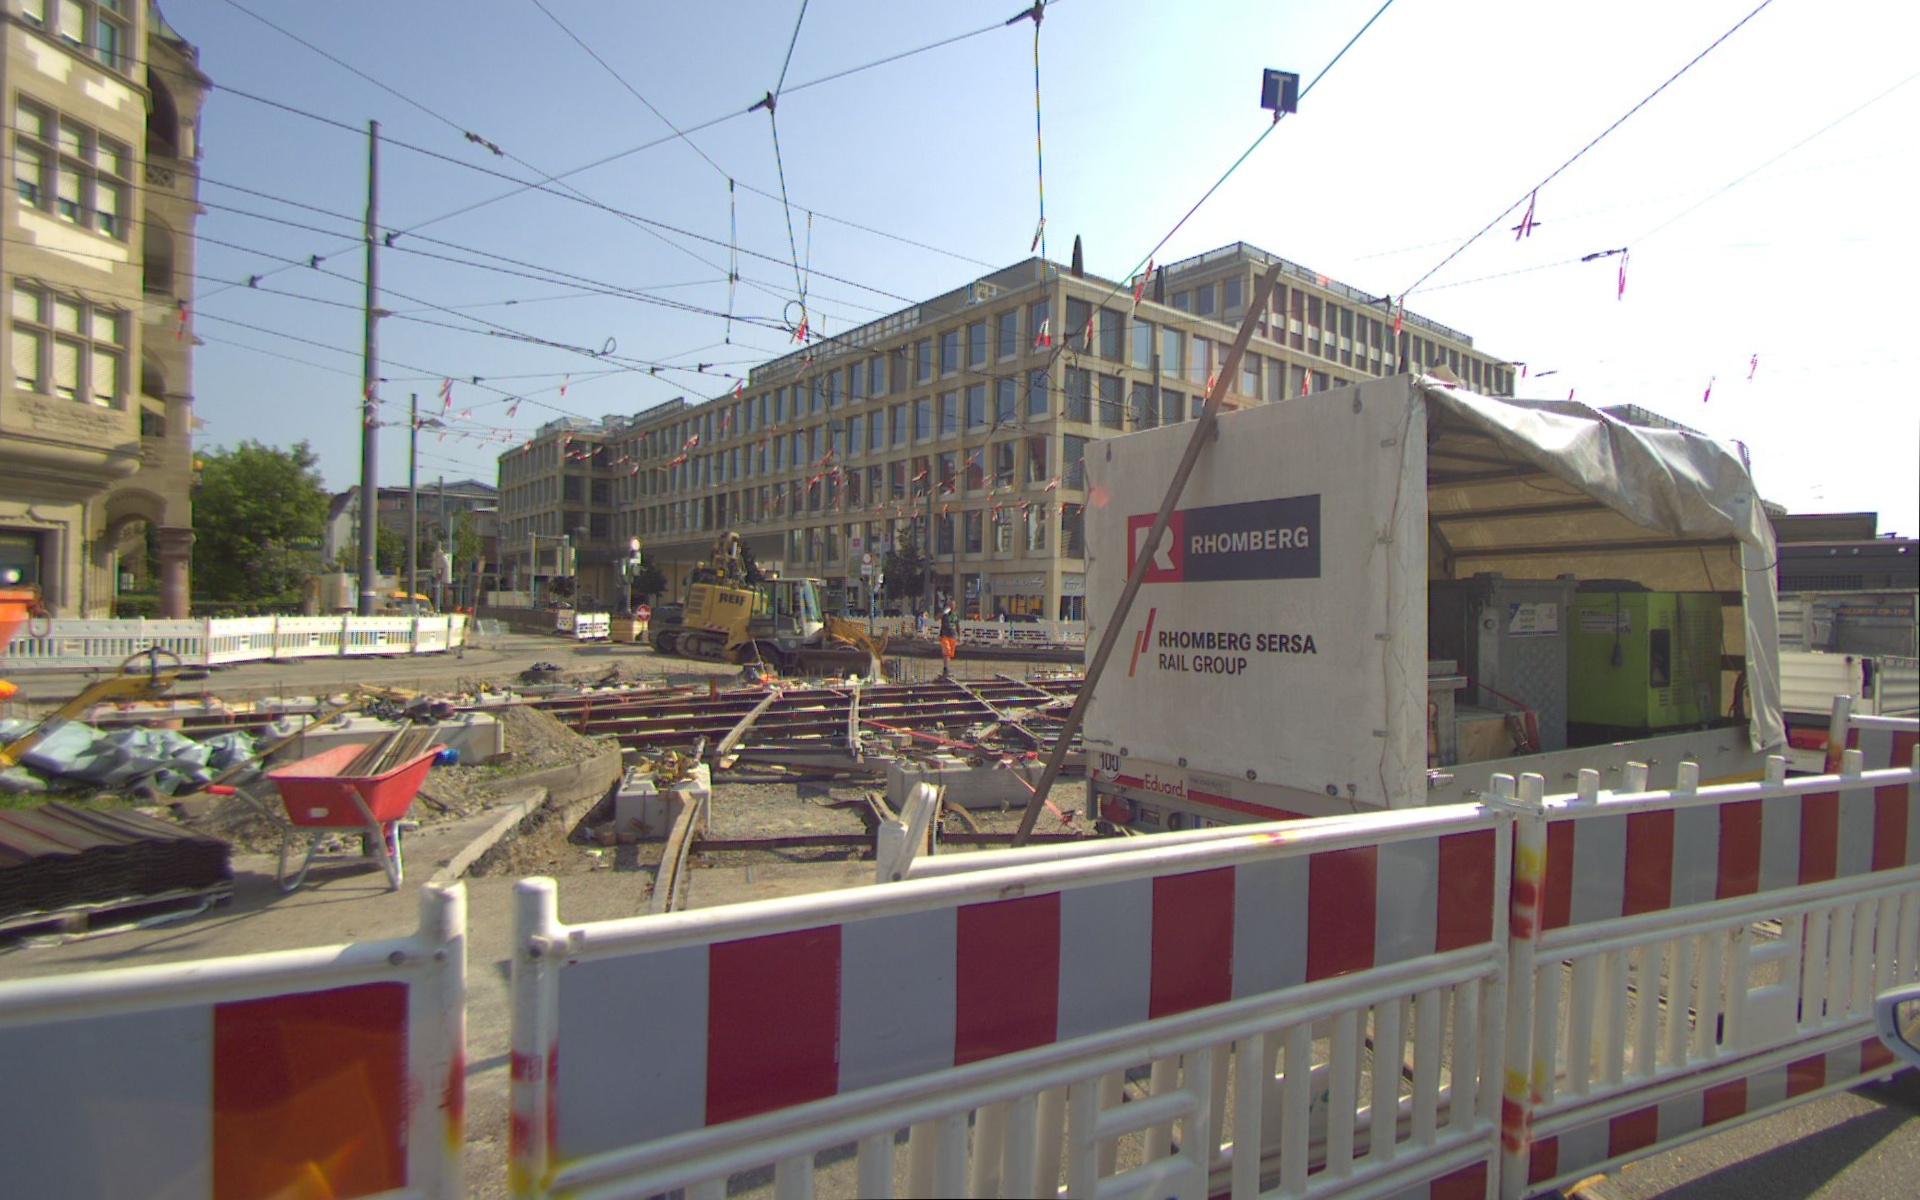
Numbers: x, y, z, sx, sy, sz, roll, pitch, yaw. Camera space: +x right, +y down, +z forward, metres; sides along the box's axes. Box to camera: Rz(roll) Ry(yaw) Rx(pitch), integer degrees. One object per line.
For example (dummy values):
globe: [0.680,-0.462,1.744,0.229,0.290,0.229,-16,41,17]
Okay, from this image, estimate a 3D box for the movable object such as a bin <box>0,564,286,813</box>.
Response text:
movable object such as a bin: [-6.671,0.563,6.926,3.256,1.579,1.588,2,-1,-38]

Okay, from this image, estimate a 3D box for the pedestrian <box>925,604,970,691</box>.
pedestrian: [-0.284,1.066,22.942,0.714,1.938,0.782,1,-1,-30]

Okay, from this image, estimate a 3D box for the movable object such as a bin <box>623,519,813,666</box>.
movable object such as a bin: [-8.582,-0.109,34.753,4.903,4.404,7.335,2,-2,-25]

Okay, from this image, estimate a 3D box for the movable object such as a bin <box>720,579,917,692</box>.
movable object such as a bin: [-3.824,0.932,27.561,4.719,2.872,2.451,1,-1,14]

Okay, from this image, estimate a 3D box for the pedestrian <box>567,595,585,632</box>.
pedestrian: [-21.234,0.752,55.525,0.669,2.040,0.634,1,0,41]

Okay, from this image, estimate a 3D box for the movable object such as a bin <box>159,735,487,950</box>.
movable object such as a bin: [-3.150,1.163,5.200,0.704,0.723,1.722,1,-1,-5]

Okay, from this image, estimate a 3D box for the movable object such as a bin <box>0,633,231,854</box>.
movable object such as a bin: [-5.737,0.823,6.007,2.192,1.227,0.880,2,-1,-38]

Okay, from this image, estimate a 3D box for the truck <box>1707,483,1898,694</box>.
truck: [19.033,-0.215,22.971,2.758,3.965,8.381,2,1,39]

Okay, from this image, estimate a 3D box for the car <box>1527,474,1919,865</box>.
car: [7.876,0.536,9.549,7.146,2.456,2.187,2,-1,-42]
